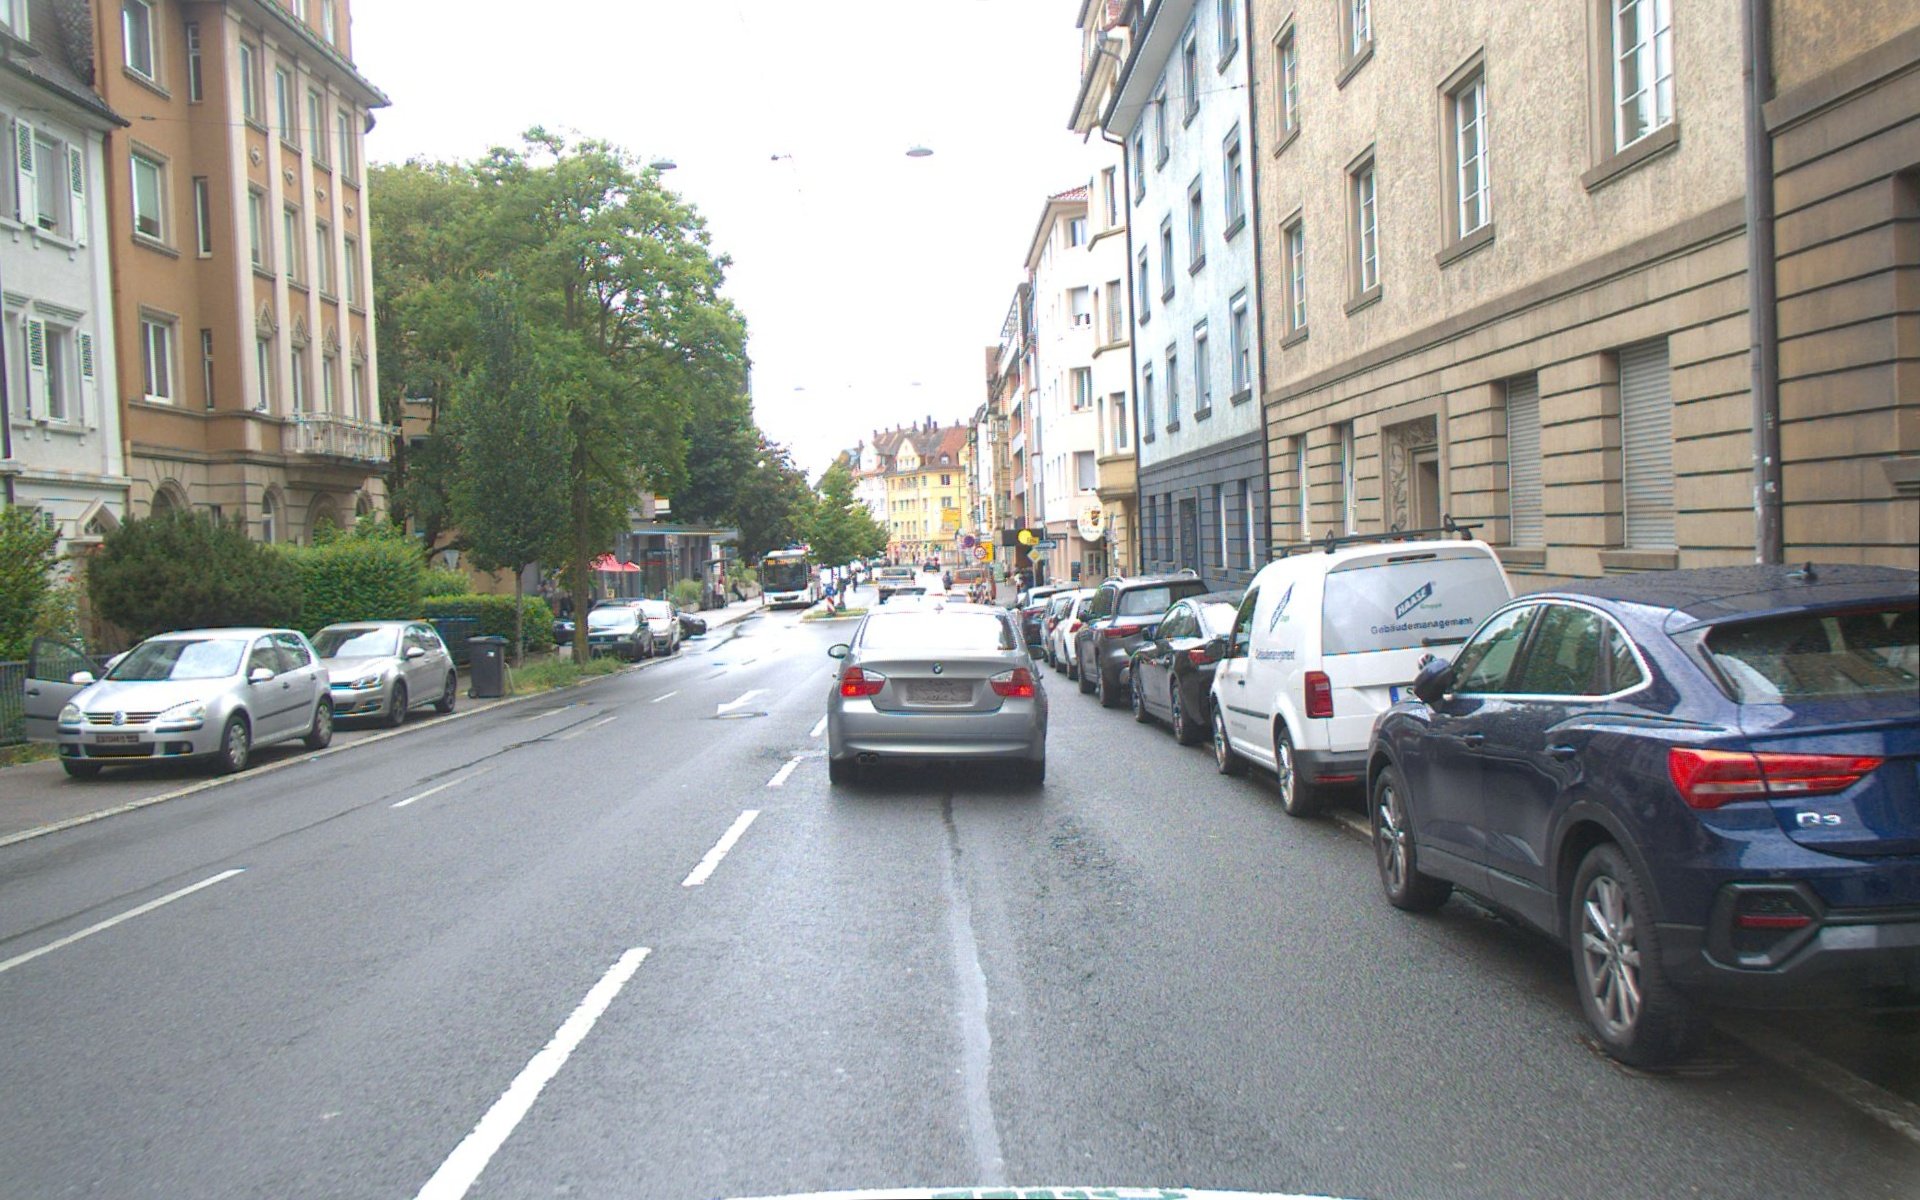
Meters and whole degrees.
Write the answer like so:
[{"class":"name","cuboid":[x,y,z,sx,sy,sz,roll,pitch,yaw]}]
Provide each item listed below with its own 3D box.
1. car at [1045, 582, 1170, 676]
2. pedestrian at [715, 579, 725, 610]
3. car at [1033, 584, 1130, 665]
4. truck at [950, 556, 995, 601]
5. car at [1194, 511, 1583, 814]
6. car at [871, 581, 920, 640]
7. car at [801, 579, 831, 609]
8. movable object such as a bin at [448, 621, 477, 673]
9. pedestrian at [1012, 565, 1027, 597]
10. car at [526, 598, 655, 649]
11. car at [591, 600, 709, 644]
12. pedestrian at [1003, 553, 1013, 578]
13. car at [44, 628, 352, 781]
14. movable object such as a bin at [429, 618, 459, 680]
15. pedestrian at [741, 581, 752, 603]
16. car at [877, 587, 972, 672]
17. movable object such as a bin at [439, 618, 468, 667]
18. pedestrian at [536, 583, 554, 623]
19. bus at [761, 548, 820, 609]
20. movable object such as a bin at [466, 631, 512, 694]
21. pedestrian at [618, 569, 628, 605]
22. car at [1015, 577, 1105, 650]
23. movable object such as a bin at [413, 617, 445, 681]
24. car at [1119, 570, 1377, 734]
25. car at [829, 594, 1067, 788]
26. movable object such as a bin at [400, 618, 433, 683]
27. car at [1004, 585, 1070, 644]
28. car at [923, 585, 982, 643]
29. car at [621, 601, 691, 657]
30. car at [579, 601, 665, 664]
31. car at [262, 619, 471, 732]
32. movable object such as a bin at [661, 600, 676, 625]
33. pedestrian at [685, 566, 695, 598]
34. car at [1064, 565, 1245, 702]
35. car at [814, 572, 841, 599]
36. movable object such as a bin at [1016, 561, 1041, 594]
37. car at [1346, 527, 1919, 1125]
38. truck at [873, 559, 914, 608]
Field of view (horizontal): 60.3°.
[{"class":"car","cuboid":[2.591,0.470,29.932,1.695,1.454,3.972,-5,1,-2]},{"class":"pedestrian","cuboid":[-13.259,-0.301,91.451,0.532,1.739,0.465,1,-1,-8]},{"class":"car","cuboid":[2.486,0.467,34.570,1.551,1.454,3.594,-5,1,-2]},{"class":"truck","cuboid":[0.623,-1.050,84.192,2.170,2.153,4.652,2,0,0]},{"class":"car","cuboid":[3.082,0.386,12.793,1.755,1.849,4.079,-4,1,-2]},{"class":"car","cuboid":[-2.360,0.398,59.940,1.671,2.049,3.997,1,-1,-4]},{"class":"car","cuboid":[-10.233,-0.438,117.841,1.953,2.049,3.998,1,-1,-2]},{"class":"movable object such as a bin","cuboid":[-11.405,1.079,37.943,0.430,1.150,0.657,-2,0,-2]},{"class":"pedestrian","cuboid":[3.194,-0.988,88.244,0.737,1.690,0.752,1,-1,-2]},{"class":"car","cuboid":[-12.042,0.747,54.009,3.737,1.413,1.743,-2,2,1]},{"class":"car","cuboid":[-10.624,0.759,56.794,3.739,1.414,1.742,-1,-1,-2]},{"class":"pedestrian","cuboid":[3.333,-2.384,114.604,0.602,1.690,0.755,1,-1,5]},{"class":"car","cuboid":[-8.359,1.078,18.536,1.648,1.414,3.908,-1,0,-1]},{"class":"movable object such as a bin","cuboid":[-11.384,1.067,36.512,0.430,1.331,0.609,-2,0,-2]},{"class":"pedestrian","cuboid":[-13.846,-0.512,107.202,0.607,1.402,0.544,1,-1,0]},{"class":"car","cuboid":[-0.682,0.520,29.836,1.570,1.445,3.285,1,-1,-4]},{"class":"movable object such as a bin","cuboid":[-11.393,0.952,37.215,0.417,1.059,0.650,-2,0,-2]},{"class":"pedestrian","cuboid":[-19.814,0.142,78.988,0.626,1.847,0.632,-3,1,-27]},{"class":"bus","cuboid":[-9.880,-1.151,97.437,2.627,3.257,11.949,1,-1,-2]},{"class":"movable object such as a bin","cuboid":[-8.386,1.108,29.463,0.617,1.076,0.600,-2,-1,-1]},{"class":"pedestrian","cuboid":[-17.338,-0.653,85.094,0.456,1.821,0.544,1,-1,-6]},{"class":"car","cuboid":[2.409,0.308,40.803,1.781,1.584,4.292,-4,0,-1]},{"class":"movable object such as a bin","cuboid":[-11.411,1.041,35.563,0.430,1.331,0.650,-2,0,-2]},{"class":"car","cuboid":[2.981,0.489,18.076,1.804,1.433,4.386,-4,0,-2]},{"class":"car","cuboid":[-0.126,0.672,13.615,1.720,1.386,3.163,-1,-1,-2]},{"class":"movable object such as a bin","cuboid":[-11.352,1.044,34.555,0.430,1.322,0.650,-2,0,-2]},{"class":"car","cuboid":[2.128,0.368,46.610,1.538,1.489,4.088,-4,0,-1]},{"class":"car","cuboid":[-0.170,0.346,41.673,1.406,1.380,3.762,1,-1,0]},{"class":"car","cuboid":[-8.824,0.801,48.207,1.600,1.479,3.835,-2,0,-5]},{"class":"car","cuboid":[-8.872,0.828,43.686,1.621,1.479,3.940,-2,1,-3]},{"class":"car","cuboid":[-8.573,1.040,24.233,1.648,1.414,3.935,-1,0,-1]},{"class":"movable object such as a bin","cuboid":[-12.986,0.548,73.684,0.480,1.100,0.606,-3,-1,-1]},{"class":"pedestrian","cuboid":[-15.446,-1.049,94.484,0.533,1.821,0.507,1,-1,-10]},{"class":"car","cuboid":[2.629,0.433,23.310,1.804,1.649,4.206,-3,0,-2]},{"class":"car","cuboid":[-10.658,-1.141,133.408,1.953,2.049,3.998,1,-1,-2]},{"class":"movable object such as a bin","cuboid":[3.783,-1.261,91.456,1.100,1.732,1.433,-3,0,-4]},{"class":"car","cuboid":[2.981,0.553,6.600,1.754,1.575,4.225,-4,1,-1]},{"class":"truck","cuboid":[-3.642,-0.884,91.302,2.172,2.589,4.777,1,-1,-2]}]
